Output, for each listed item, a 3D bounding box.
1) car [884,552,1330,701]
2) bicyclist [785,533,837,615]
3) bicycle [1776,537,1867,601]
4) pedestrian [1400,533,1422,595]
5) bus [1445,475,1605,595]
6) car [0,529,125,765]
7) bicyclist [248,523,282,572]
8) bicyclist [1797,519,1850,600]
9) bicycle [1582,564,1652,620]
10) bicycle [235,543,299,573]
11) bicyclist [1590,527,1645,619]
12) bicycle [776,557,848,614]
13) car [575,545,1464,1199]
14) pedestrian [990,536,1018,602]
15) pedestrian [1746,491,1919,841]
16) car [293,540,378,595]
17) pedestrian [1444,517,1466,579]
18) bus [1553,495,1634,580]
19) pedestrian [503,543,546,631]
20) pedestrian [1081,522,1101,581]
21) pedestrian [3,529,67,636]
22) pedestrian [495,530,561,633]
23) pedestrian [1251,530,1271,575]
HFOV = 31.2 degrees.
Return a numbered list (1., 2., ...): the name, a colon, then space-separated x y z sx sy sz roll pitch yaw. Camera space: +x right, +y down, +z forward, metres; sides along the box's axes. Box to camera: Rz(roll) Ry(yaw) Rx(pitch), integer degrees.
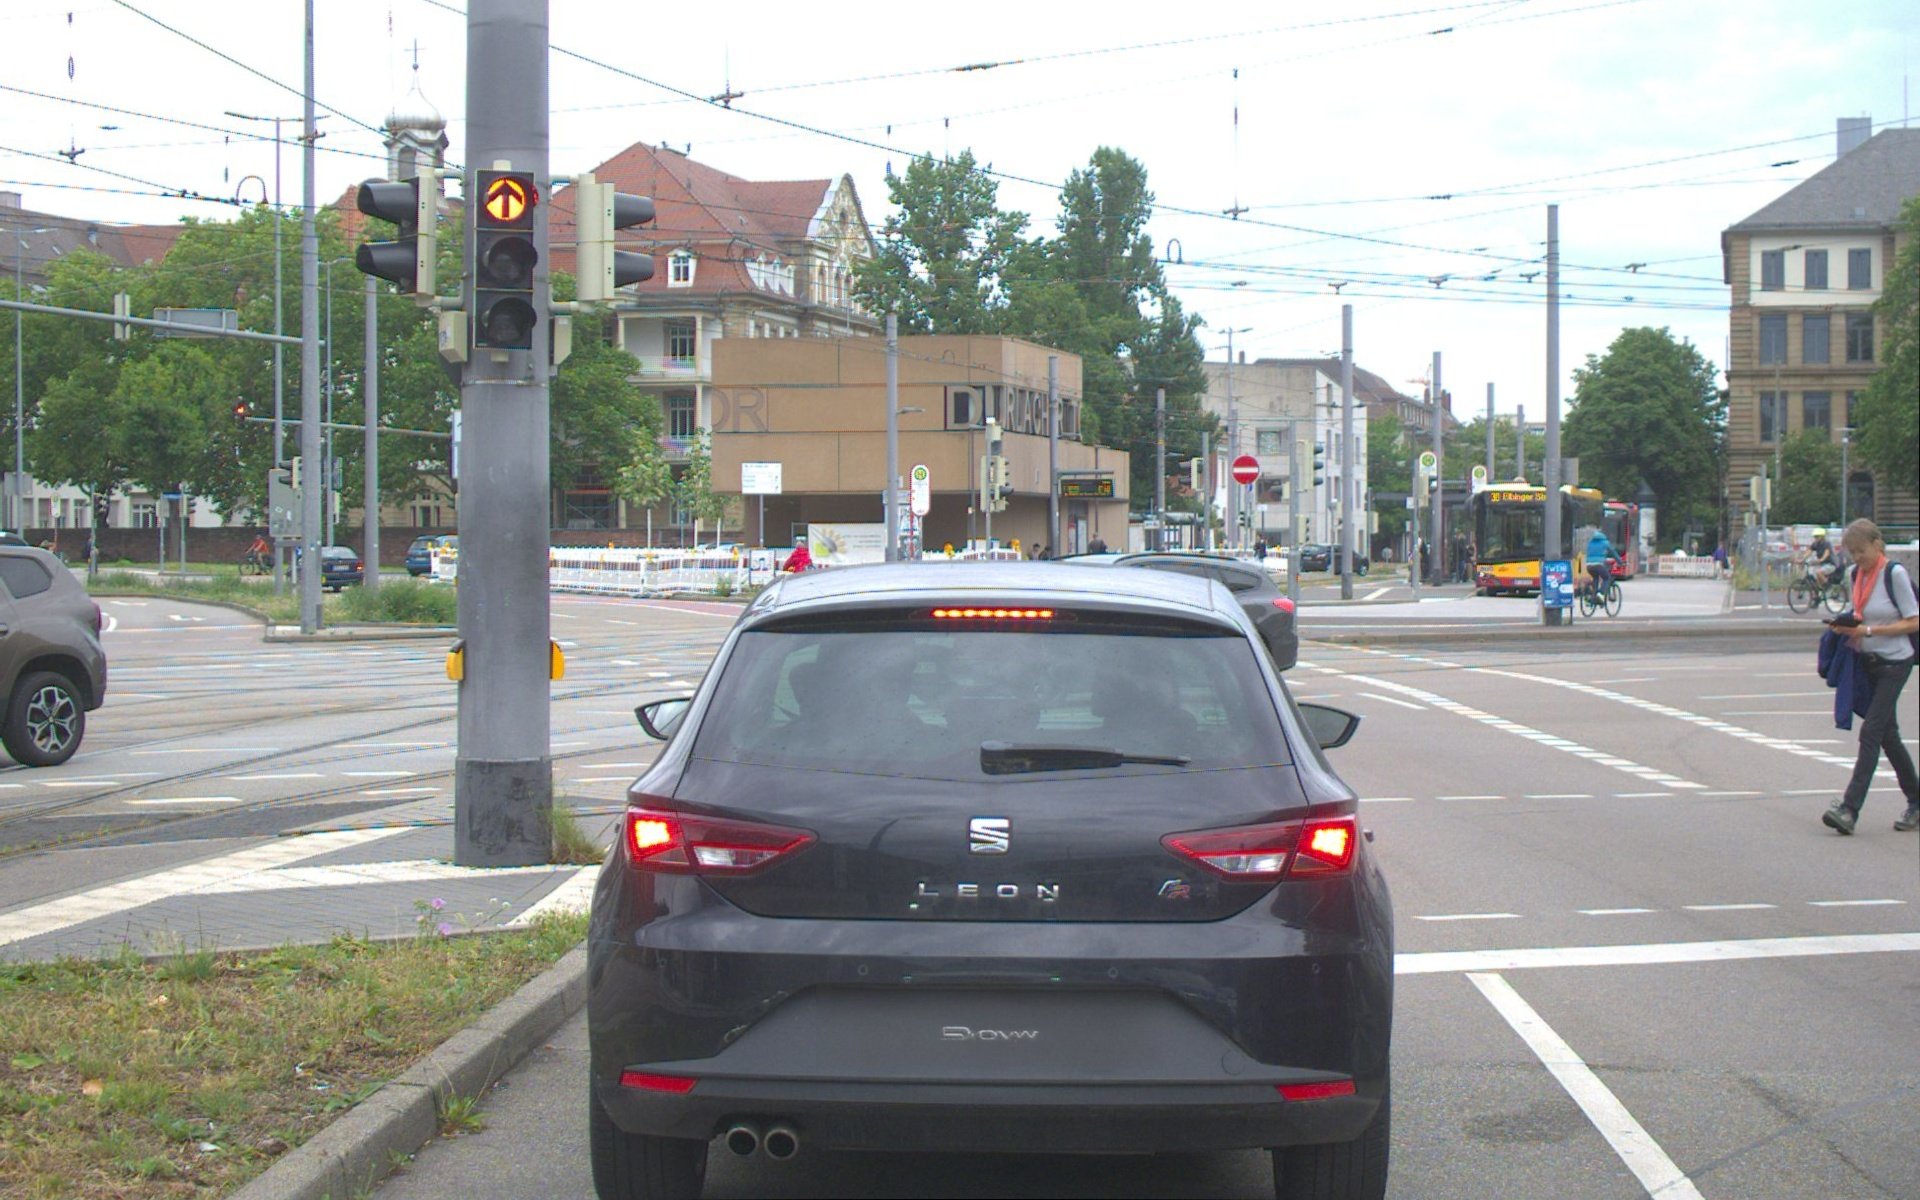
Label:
1. car: 1.521 0.227 34.642 4.379 1.391 1.698 -1 1 -36
2. bicyclist: -3.178 -0.564 73.242 0.882 1.726 0.895 0 1 -19
3. bicycle: 17.857 -0.650 71.244 1.730 1.317 0.645 0 1 -13
4. pedestrian: 13.946 -1.128 106.215 0.621 1.911 0.698 0 1 12
5. bus: 15.821 -1.797 95.491 2.963 3.112 11.530 0 1 17
6. car: -7.898 0.324 23.518 1.801 1.634 4.222 1 1 31
7. bicyclist: -28.278 -2.133 139.861 0.939 2.007 0.977 1 1 31
8. bicyclist: 17.891 -0.844 71.251 0.854 1.667 0.654 0 1 -13
9. bicycle: 13.359 -0.165 69.948 0.865 1.101 2.302 0 1 -3
10. bicycle: -28.188 -1.716 139.899 0.941 1.175 2.725 1 1 31
11. bicyclist: 13.355 -0.550 69.861 0.871 1.845 1.048 0 1 -3
12. bicycle: -3.169 -0.326 73.257 0.891 1.174 2.303 0 1 -19
13. car: 0.048 0.596 8.526 1.704 1.444 3.812 0 1 -2
14. pedestrian: 1.276 -0.907 100.029 0.708 1.911 0.623 0 1 10
15. pedestrian: 5.072 0.356 19.347 1.101 1.900 0.735 0 0 -40
16. car: -19.575 -1.004 107.609 1.993 1.678 4.001 0 0 -19
17. pedestrian: 15.338 -1.615 106.550 0.621 1.911 0.698 0 1 12
18. bus: 25.538 -2.507 138.325 2.655 3.272 10.988 0 1 13
19. pedestrian: -7.642 -0.235 60.337 0.727 1.536 0.417 0 1 -10
20. pedestrian: 4.230 -1.574 110.951 0.621 1.911 0.710 0 1 5
21. pedestrian: -16.835 -0.321 62.545 1.027 1.927 0.701 0 1 -23
22. pedestrian: -8.170 -0.353 65.077 0.700 1.927 1.028 1 1 41
23. pedestrian: 12.899 -2.031 147.490 0.622 1.911 0.709 0 0 28
